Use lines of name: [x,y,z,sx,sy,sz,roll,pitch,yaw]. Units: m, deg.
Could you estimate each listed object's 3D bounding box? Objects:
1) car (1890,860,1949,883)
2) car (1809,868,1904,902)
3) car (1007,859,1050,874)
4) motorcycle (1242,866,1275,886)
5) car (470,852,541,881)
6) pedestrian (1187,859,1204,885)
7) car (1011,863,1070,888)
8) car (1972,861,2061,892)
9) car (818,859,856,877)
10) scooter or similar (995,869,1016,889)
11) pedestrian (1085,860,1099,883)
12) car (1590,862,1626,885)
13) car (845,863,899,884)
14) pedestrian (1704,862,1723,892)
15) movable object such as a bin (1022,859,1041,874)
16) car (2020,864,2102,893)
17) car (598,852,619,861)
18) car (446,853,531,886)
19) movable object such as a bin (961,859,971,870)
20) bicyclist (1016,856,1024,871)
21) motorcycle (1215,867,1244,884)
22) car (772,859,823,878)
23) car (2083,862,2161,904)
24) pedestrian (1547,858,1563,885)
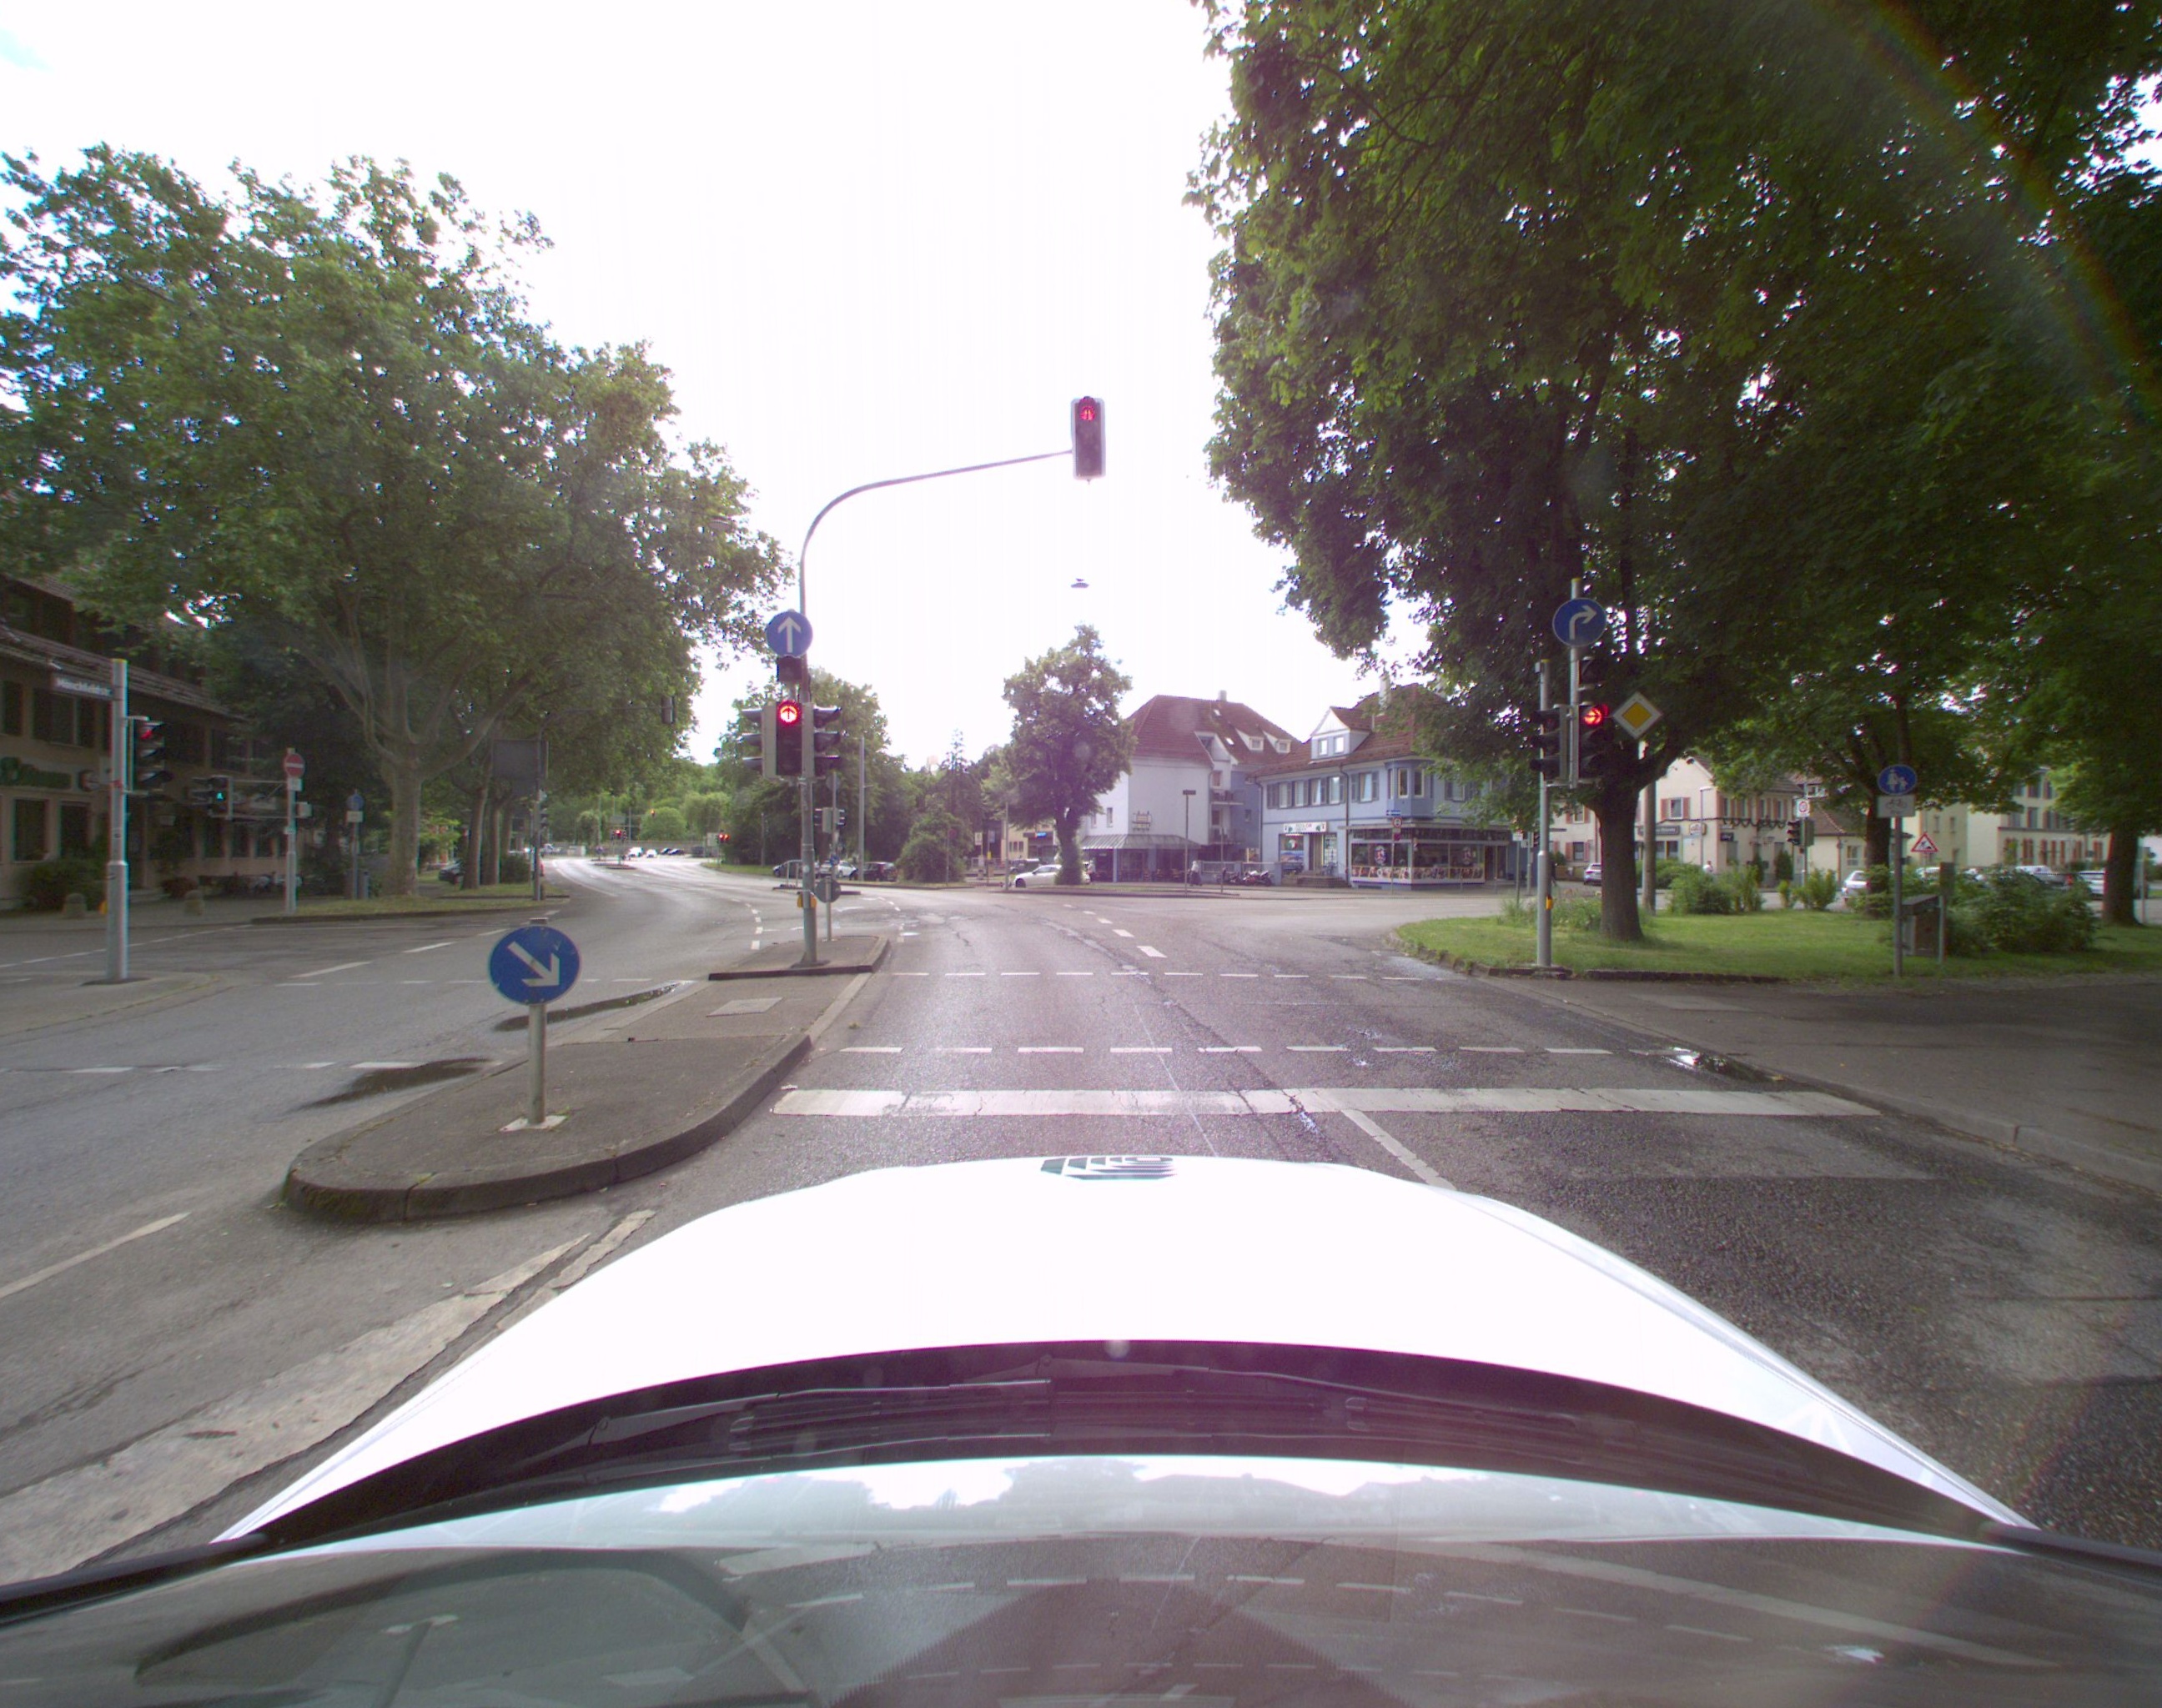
car: [55.116,1.129,53.526,4.007,1.420,1.544,0,0,-26]
car: [31.962,1.252,33.566,3.511,1.321,1.549,0,0,-22]
car: [-4.878,1.139,76.157,3.752,1.345,1.422,0,0,-25]
motorcycle: [10.535,1.289,48.263,1.777,1.121,0.699,0,-1,40]
car: [-35.483,0.759,50.287,3.461,1.742,1.557,0,-1,-31]
pedestrian: [7.019,1.106,49.839,0.759,1.545,0.682,-1,-1,41]
car: [-2.308,1.204,46.239,3.134,1.354,1.448,0,-1,36]
car: [42.215,0.977,36.749,3.510,1.321,1.549,0,0,-21]
car: [-20.078,1.134,67.189,1.534,1.464,3.407,0,0,13]
scooter or similar: [-3.977,1.292,42.882,0.413,1.011,1.575,-1,-1,23]
pedestrian: [0.723,1.150,54.196,0.699,1.545,0.682,-1,-1,42]
car: [32.603,1.186,50.338,1.481,1.369,3.198,-1,-1,40]
car: [-13.906,1.269,54.207,3.549,1.394,1.481,0,-1,34]
pedestrian: [35.020,1.278,45.103,0.611,1.649,0.606,0,-1,-27]
movable object such as a bin: [-4.521,1.137,74.250,1.447,1.409,0.959,0,-1,-25]
car: [47.003,1.168,39.056,3.511,1.321,1.549,0,0,-22]
car: [-106.166,0.504,183.036,4.011,2.014,1.981,0,-1,-29]
car: [-31.001,0.786,42.720,3.461,1.641,1.557,0,-1,-31]
movable object such as a bin: [-12.218,1.124,86.641,0.953,1.115,0.381,0,-1,-19]
bicyclist: [-6.407,0.946,84.968,0.739,1.541,0.596,0,-1,-17]
motorcycle: [9.114,1.316,50.077,0.699,1.064,1.617,0,-1,-44]
car: [-22.437,1.117,64.487,3.520,1.464,1.591,0,0,14]
car: [52.831,1.436,41.122,4.004,2.014,1.770,0,-1,-23]
pedestrian: [27.208,0.995,46.740,0.459,1.517,0.584,0,-1,-18]
